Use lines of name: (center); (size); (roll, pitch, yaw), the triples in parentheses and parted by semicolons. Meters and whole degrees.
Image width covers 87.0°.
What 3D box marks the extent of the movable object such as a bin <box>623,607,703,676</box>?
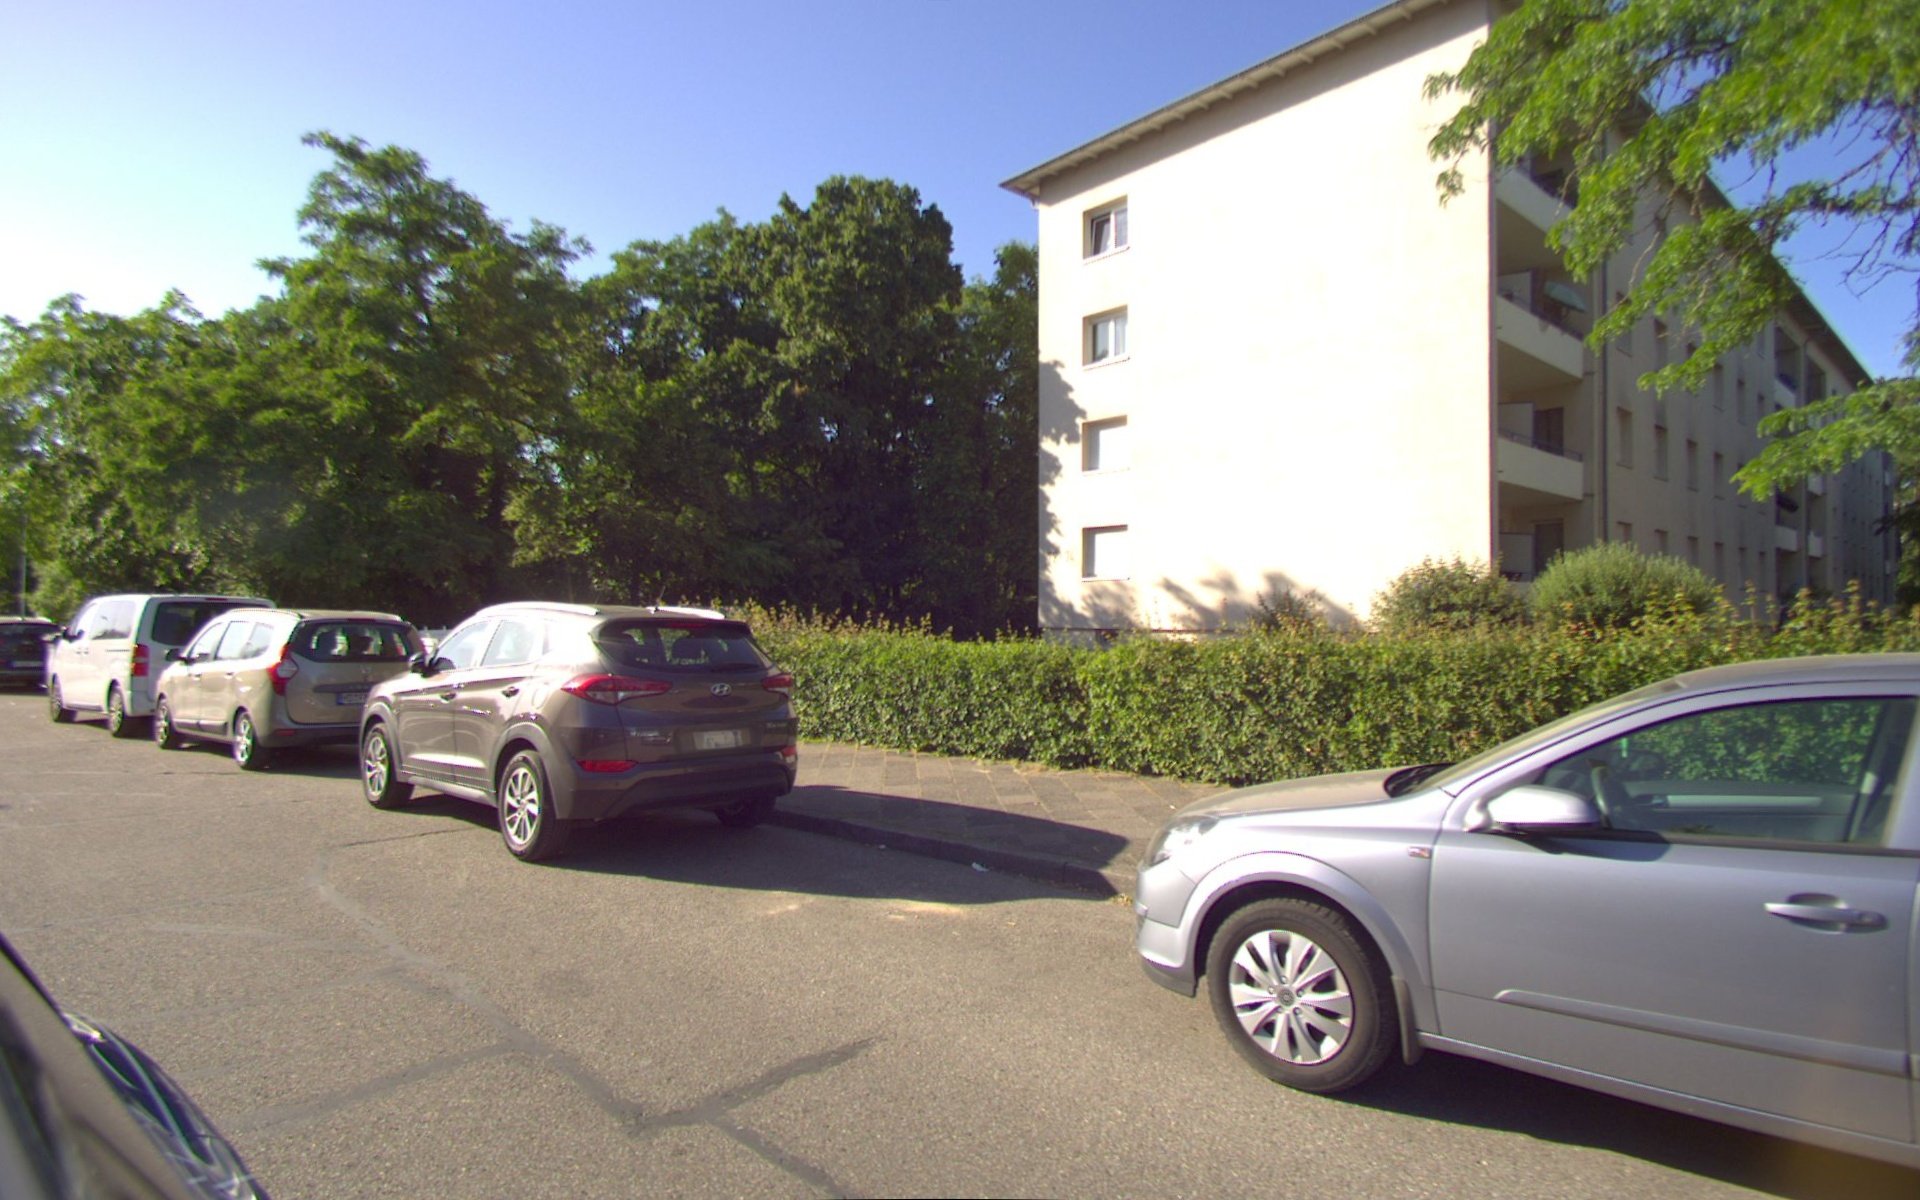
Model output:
movable object such as a bin: (-6.758, 0.929, 23.021); (1.278, 1.500, 1.246); (-1, -2, 38)

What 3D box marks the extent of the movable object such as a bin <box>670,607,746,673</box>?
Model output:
movable object such as a bin: (-5.987, 0.939, 24.084); (1.278, 1.500, 1.246); (-1, -2, 38)

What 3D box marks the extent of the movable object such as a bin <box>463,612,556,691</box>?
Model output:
movable object such as a bin: (-9.292, 1.041, 20.909); (1.275, 1.563, 1.249); (-1, -2, 31)

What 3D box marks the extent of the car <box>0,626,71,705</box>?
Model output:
car: (-21.797, 1.438, 22.859); (4.242, 1.651, 1.659); (-1, -3, 36)

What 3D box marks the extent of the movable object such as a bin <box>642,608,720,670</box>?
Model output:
movable object such as a bin: (-6.959, 0.962, 25.267); (1.508, 1.500, 1.263); (-1, -2, 40)

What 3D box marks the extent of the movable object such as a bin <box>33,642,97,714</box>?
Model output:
movable object such as a bin: (-17.331, 1.490, 19.594); (1.321, 1.326, 0.794); (-3, -3, 43)

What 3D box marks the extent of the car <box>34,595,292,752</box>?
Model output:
car: (-11.794, 0.989, 14.874); (4.663, 1.976, 1.846); (-2, -2, 37)

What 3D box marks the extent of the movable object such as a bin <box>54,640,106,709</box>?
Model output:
movable object such as a bin: (-18.022, 1.506, 20.723); (1.268, 1.350, 0.603); (-1, -2, 40)

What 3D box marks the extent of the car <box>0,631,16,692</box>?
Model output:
car: (-26.033, 1.578, 26.034); (3.406, 1.539, 1.615); (-1, -2, 30)

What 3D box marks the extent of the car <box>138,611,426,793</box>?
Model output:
car: (-7.932, 1.039, 11.685); (4.335, 1.735, 1.540); (-2, -2, 39)

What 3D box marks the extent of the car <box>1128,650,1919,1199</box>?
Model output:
car: (2.648, 0.905, 2.962); (3.997, 1.448, 1.653); (-1, -3, 41)

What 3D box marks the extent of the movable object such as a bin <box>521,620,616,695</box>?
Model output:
movable object such as a bin: (-7.700, 1.100, 19.938); (1.259, 1.412, 1.265); (-1, -2, 35)

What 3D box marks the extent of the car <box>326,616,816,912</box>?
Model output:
car: (-3.169, 0.974, 7.733); (4.362, 1.630, 1.729); (-2, -2, 42)

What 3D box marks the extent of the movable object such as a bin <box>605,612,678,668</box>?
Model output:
movable object such as a bin: (-8.274, 1.021, 26.279); (1.510, 1.419, 1.261); (-1, -2, 44)

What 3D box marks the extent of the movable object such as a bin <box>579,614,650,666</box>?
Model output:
movable object such as a bin: (-9.378, 1.061, 27.462); (1.510, 1.365, 1.261); (-1, -2, 44)
